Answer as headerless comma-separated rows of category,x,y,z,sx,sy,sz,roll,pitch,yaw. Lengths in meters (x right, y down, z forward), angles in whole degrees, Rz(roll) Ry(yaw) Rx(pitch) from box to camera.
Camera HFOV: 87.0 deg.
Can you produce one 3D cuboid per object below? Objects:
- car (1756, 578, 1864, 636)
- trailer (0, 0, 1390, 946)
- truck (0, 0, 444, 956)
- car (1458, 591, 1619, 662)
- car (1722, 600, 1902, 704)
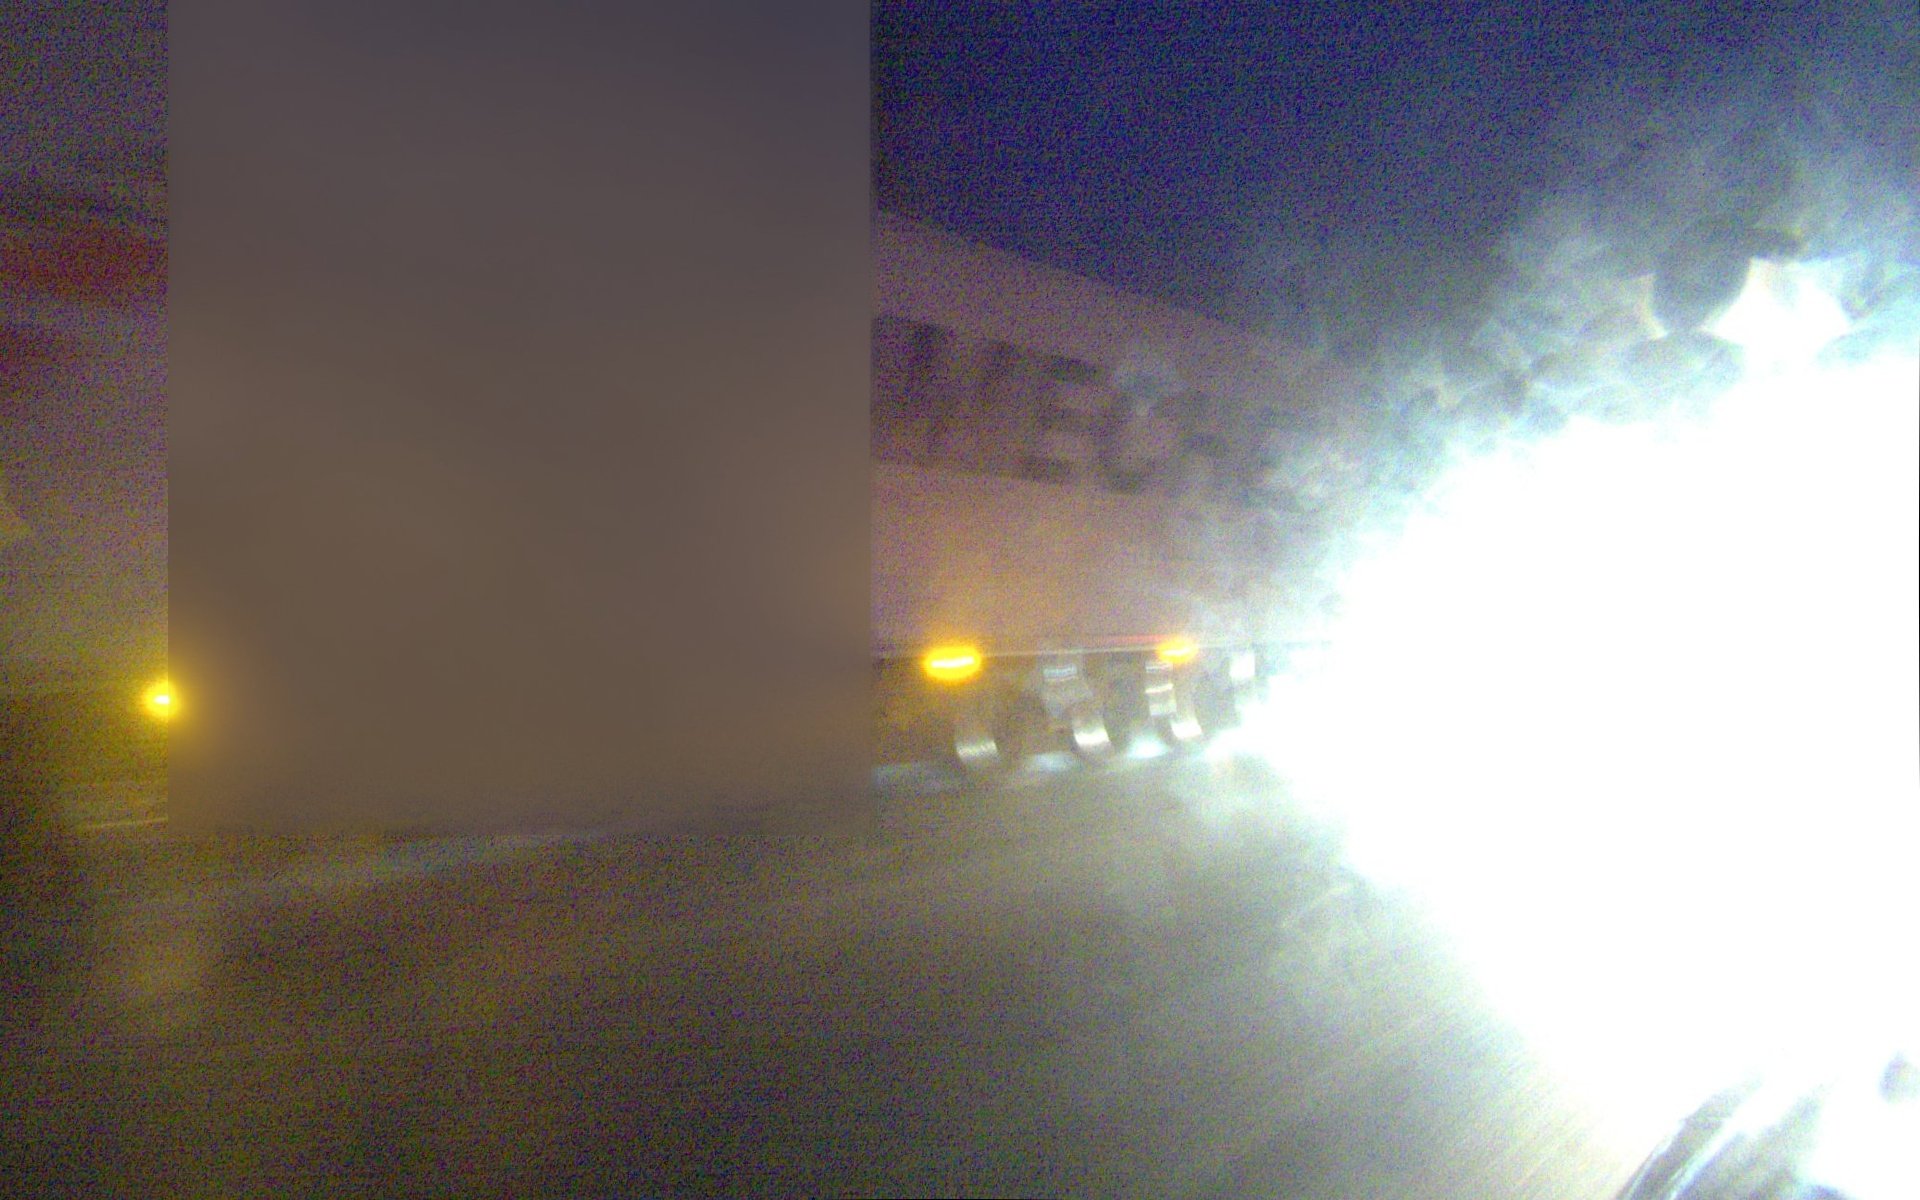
car,32.151,0.246,38.238,5.308,1.998,2.052,1,3,-39
trailer,-0.645,-0.830,8.334,11.885,4.265,2.808,0,0,-41
truck,-6.168,-0.816,3.547,7.317,4.321,2.808,0,0,-41
car,13.767,0.582,23.956,4.876,1.505,1.897,1,0,-42
car,13.525,0.723,16.008,3.725,1.430,1.615,0,1,-41
